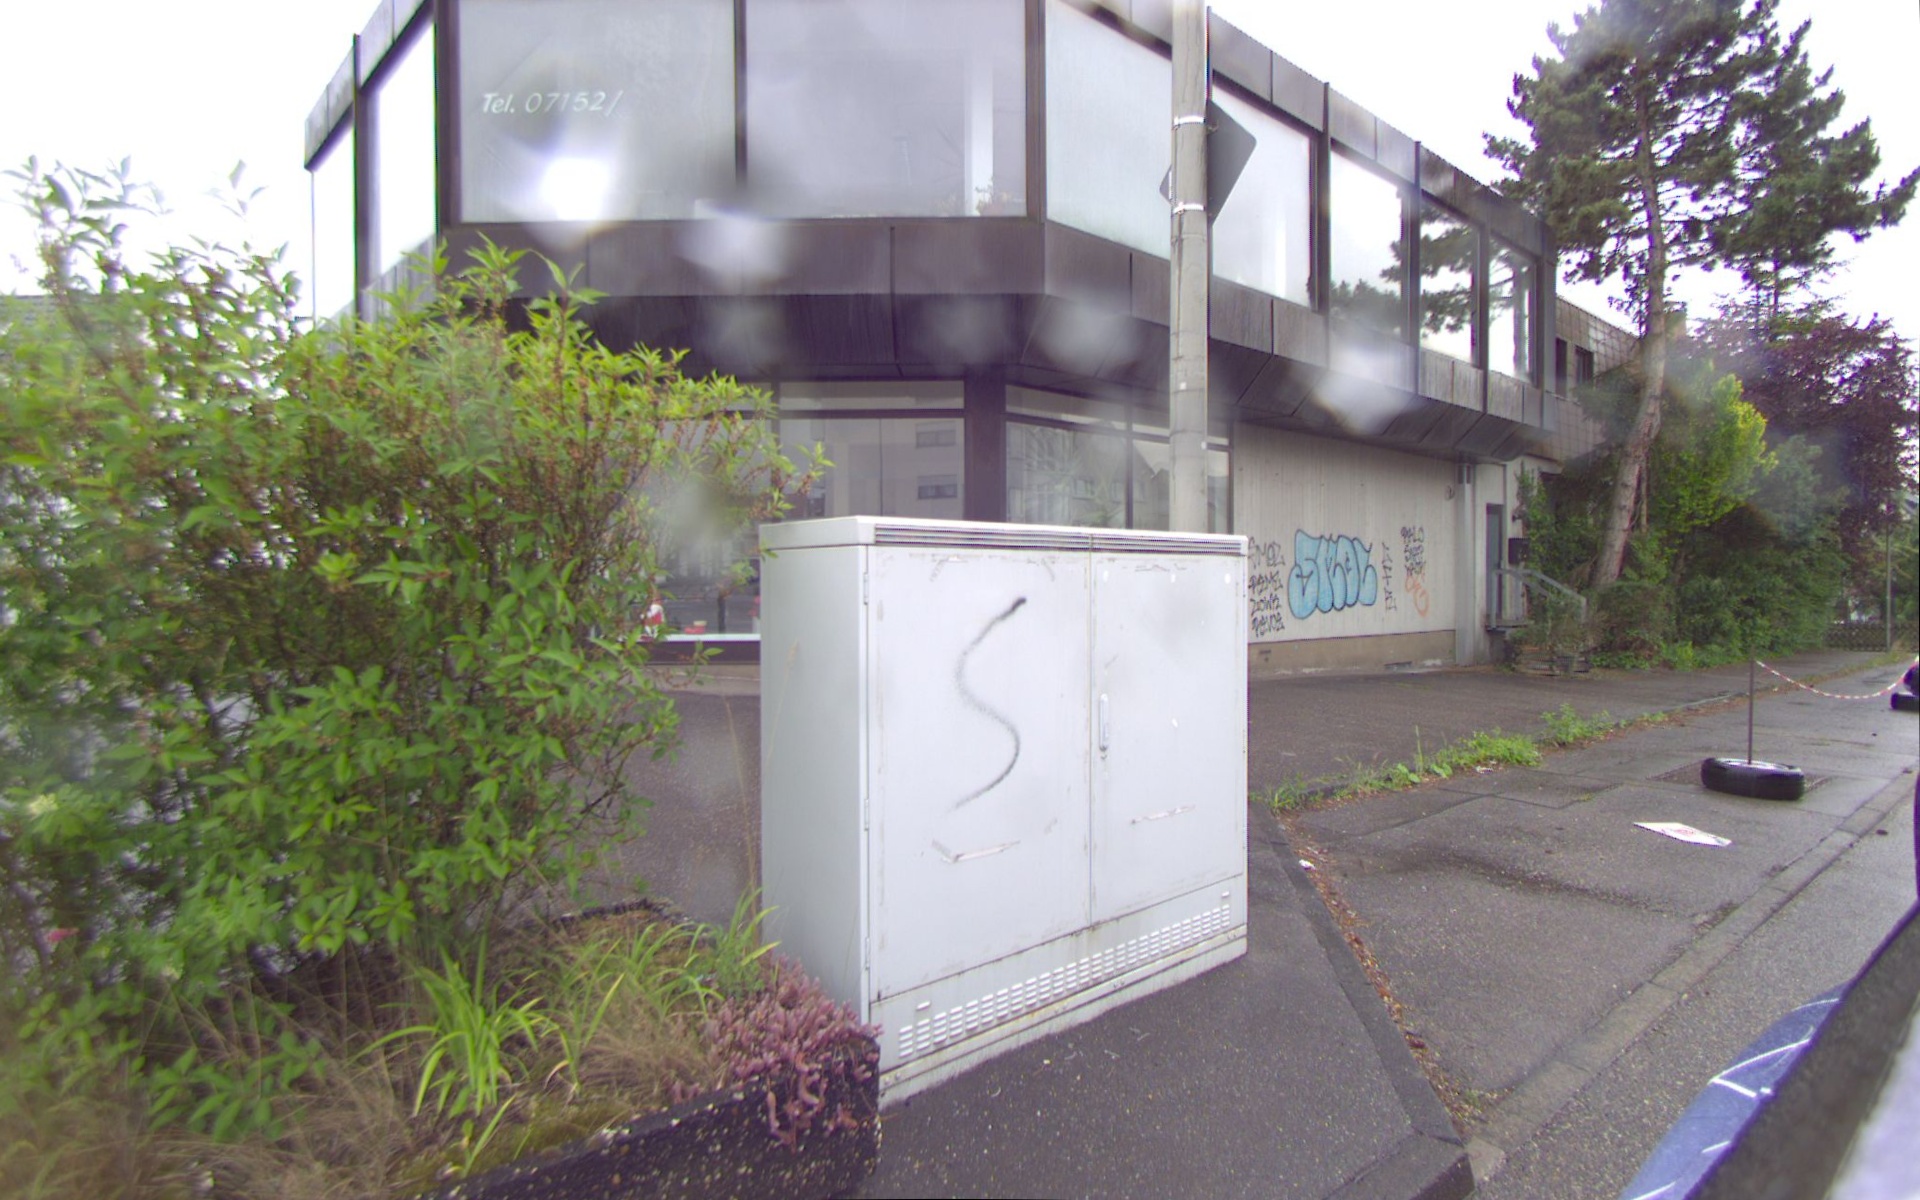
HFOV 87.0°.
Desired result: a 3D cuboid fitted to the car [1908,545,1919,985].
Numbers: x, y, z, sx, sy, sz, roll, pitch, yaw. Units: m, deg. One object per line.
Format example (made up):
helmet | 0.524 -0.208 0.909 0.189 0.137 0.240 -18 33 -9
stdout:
car | 5.695 0.583 4.451 4.595 1.562 1.753 -1 1 -41
